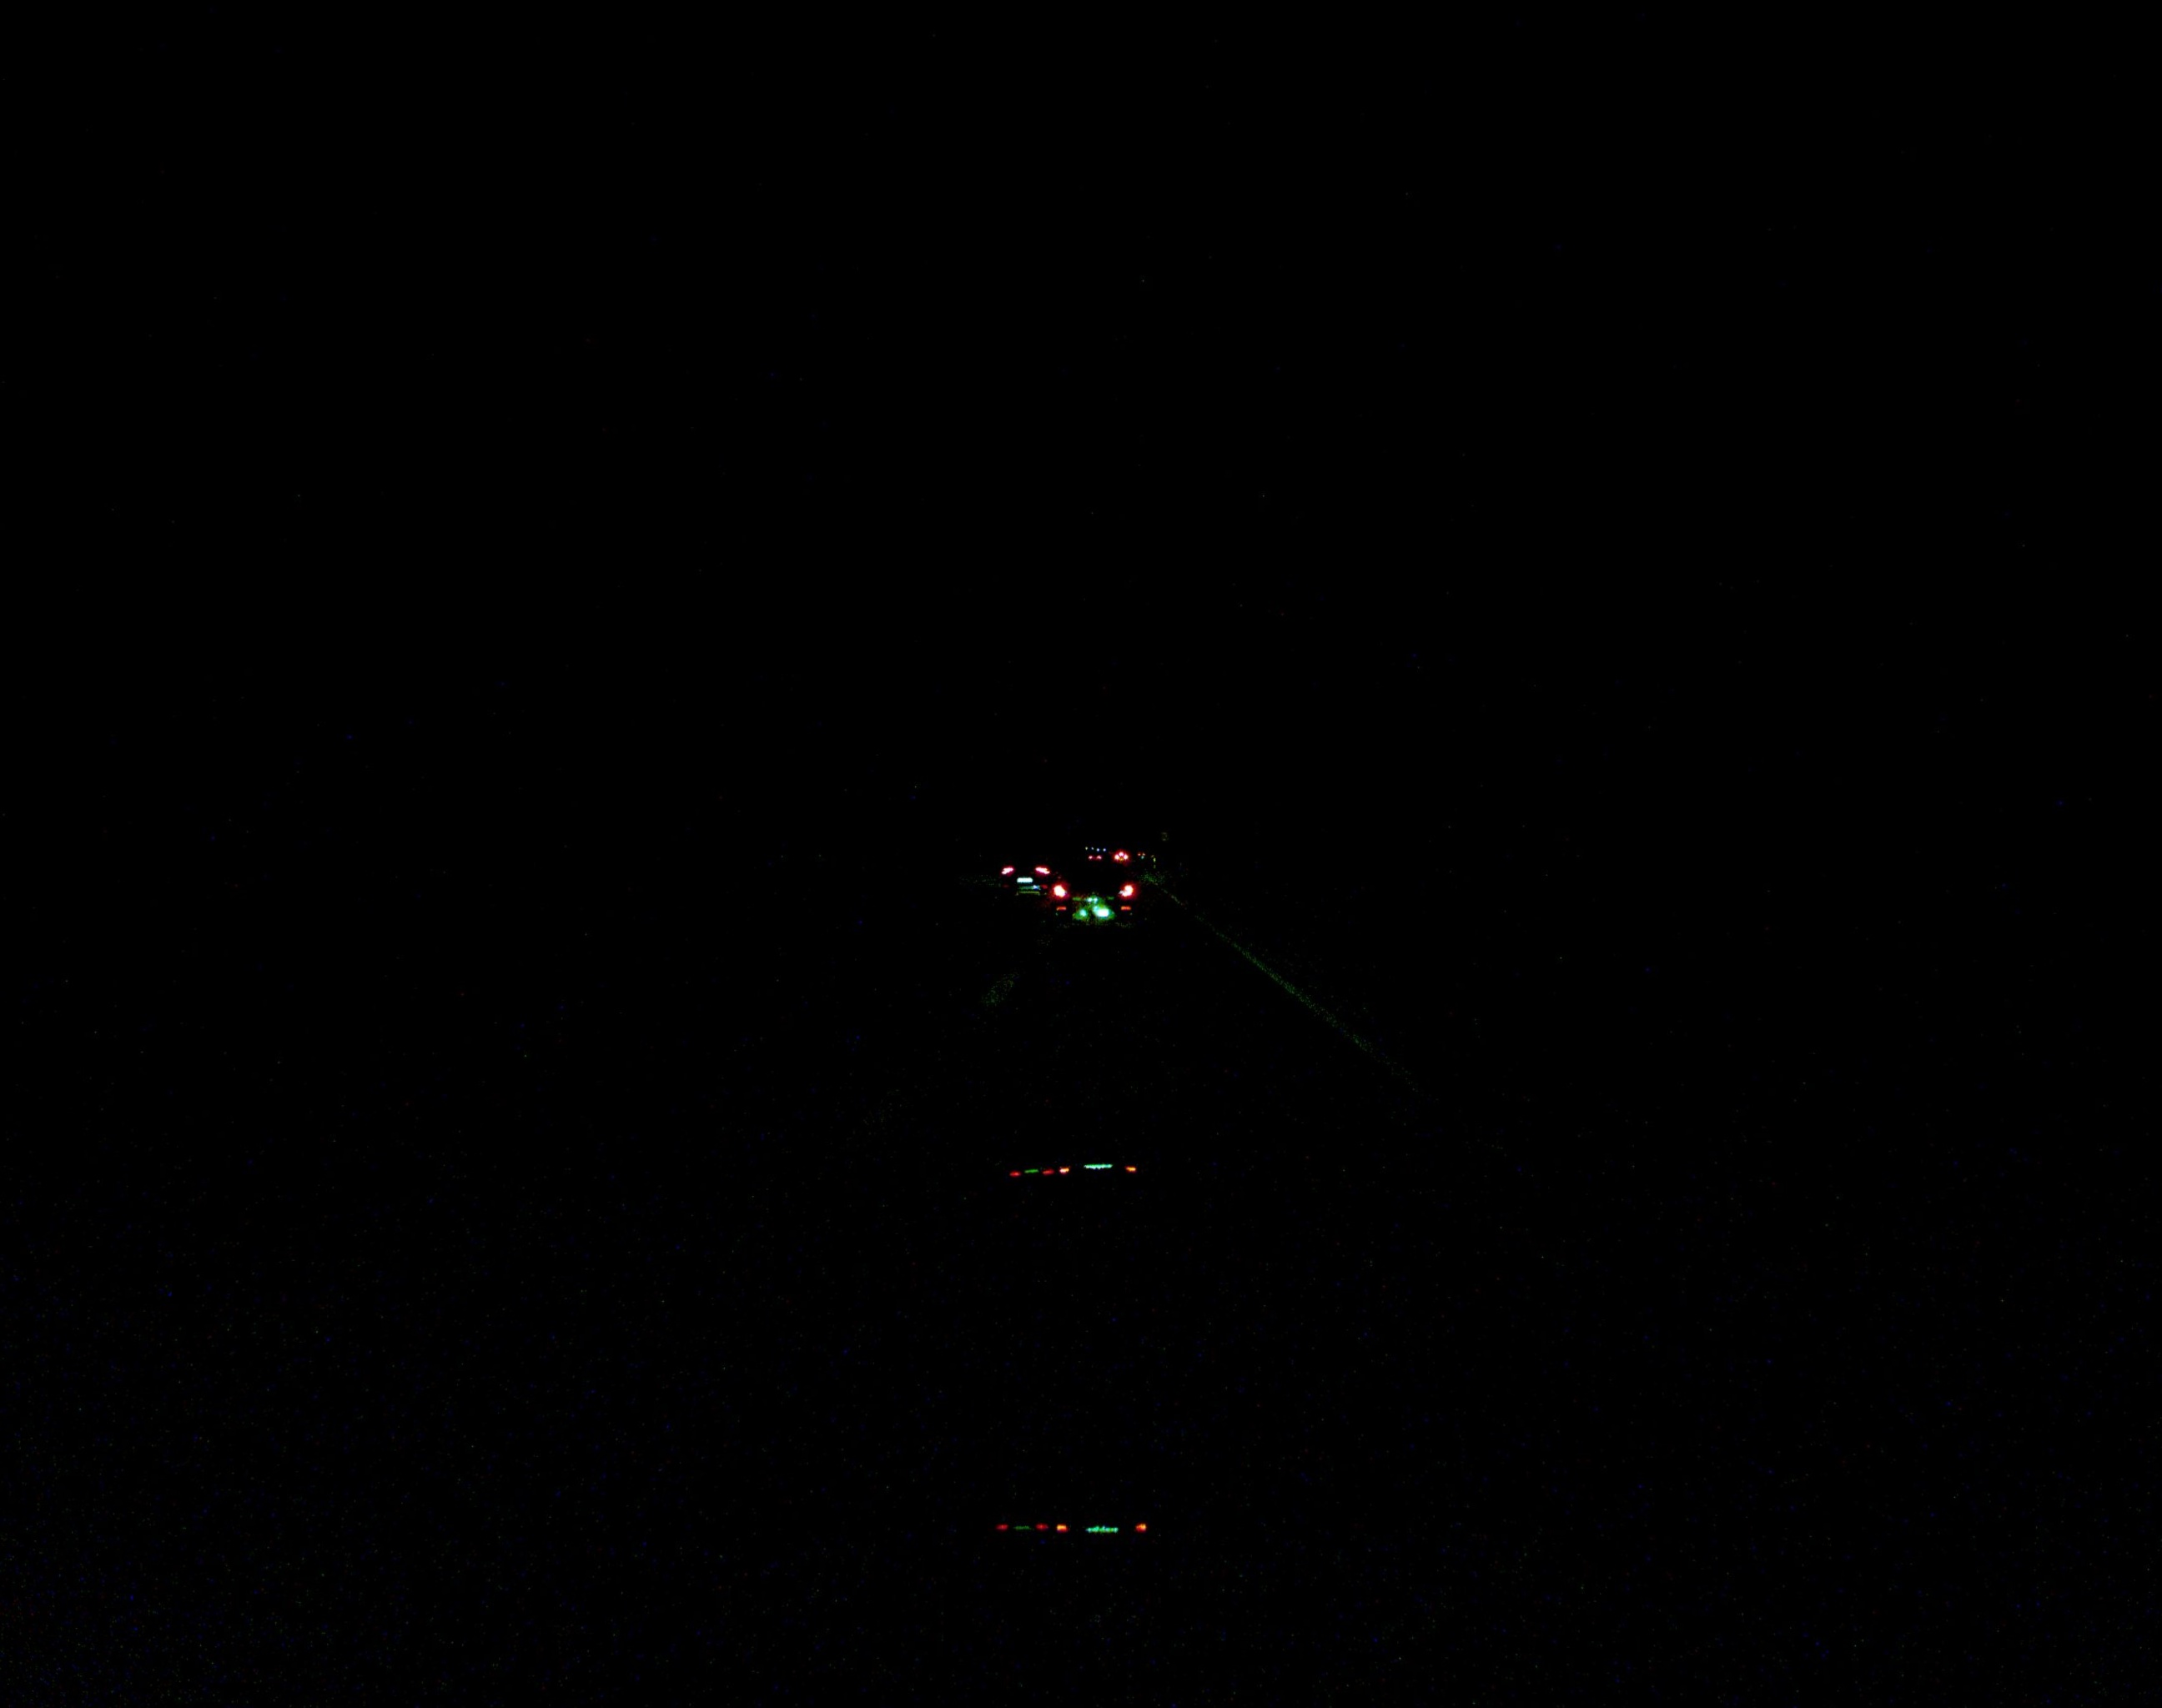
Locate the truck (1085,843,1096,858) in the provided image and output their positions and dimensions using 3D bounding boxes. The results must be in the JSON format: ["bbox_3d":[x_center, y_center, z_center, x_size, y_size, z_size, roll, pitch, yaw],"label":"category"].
[{"bbox_3d":[2.886,-1.075,243.612,2.664,4.177,5.875,-1,0,4],"label":"truck"}]

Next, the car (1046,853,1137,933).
[{"bbox_3d":[0.157,0.738,17.130,1.686,1.478,3.997,0,0,-2],"label":"car"}]

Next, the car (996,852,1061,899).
[{"bbox_3d":[-1.873,0.753,30.403,1.932,1.608,4.646,0,0,3],"label":"car"}]

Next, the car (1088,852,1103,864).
[{"bbox_3d":[2.158,0.614,119.865,1.944,1.538,4.243,-5,-2,2],"label":"car"}]

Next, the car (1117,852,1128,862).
[{"bbox_3d":[6.664,0.514,131.250,1.727,1.618,3.799,0,0,1],"label":"car"}]
